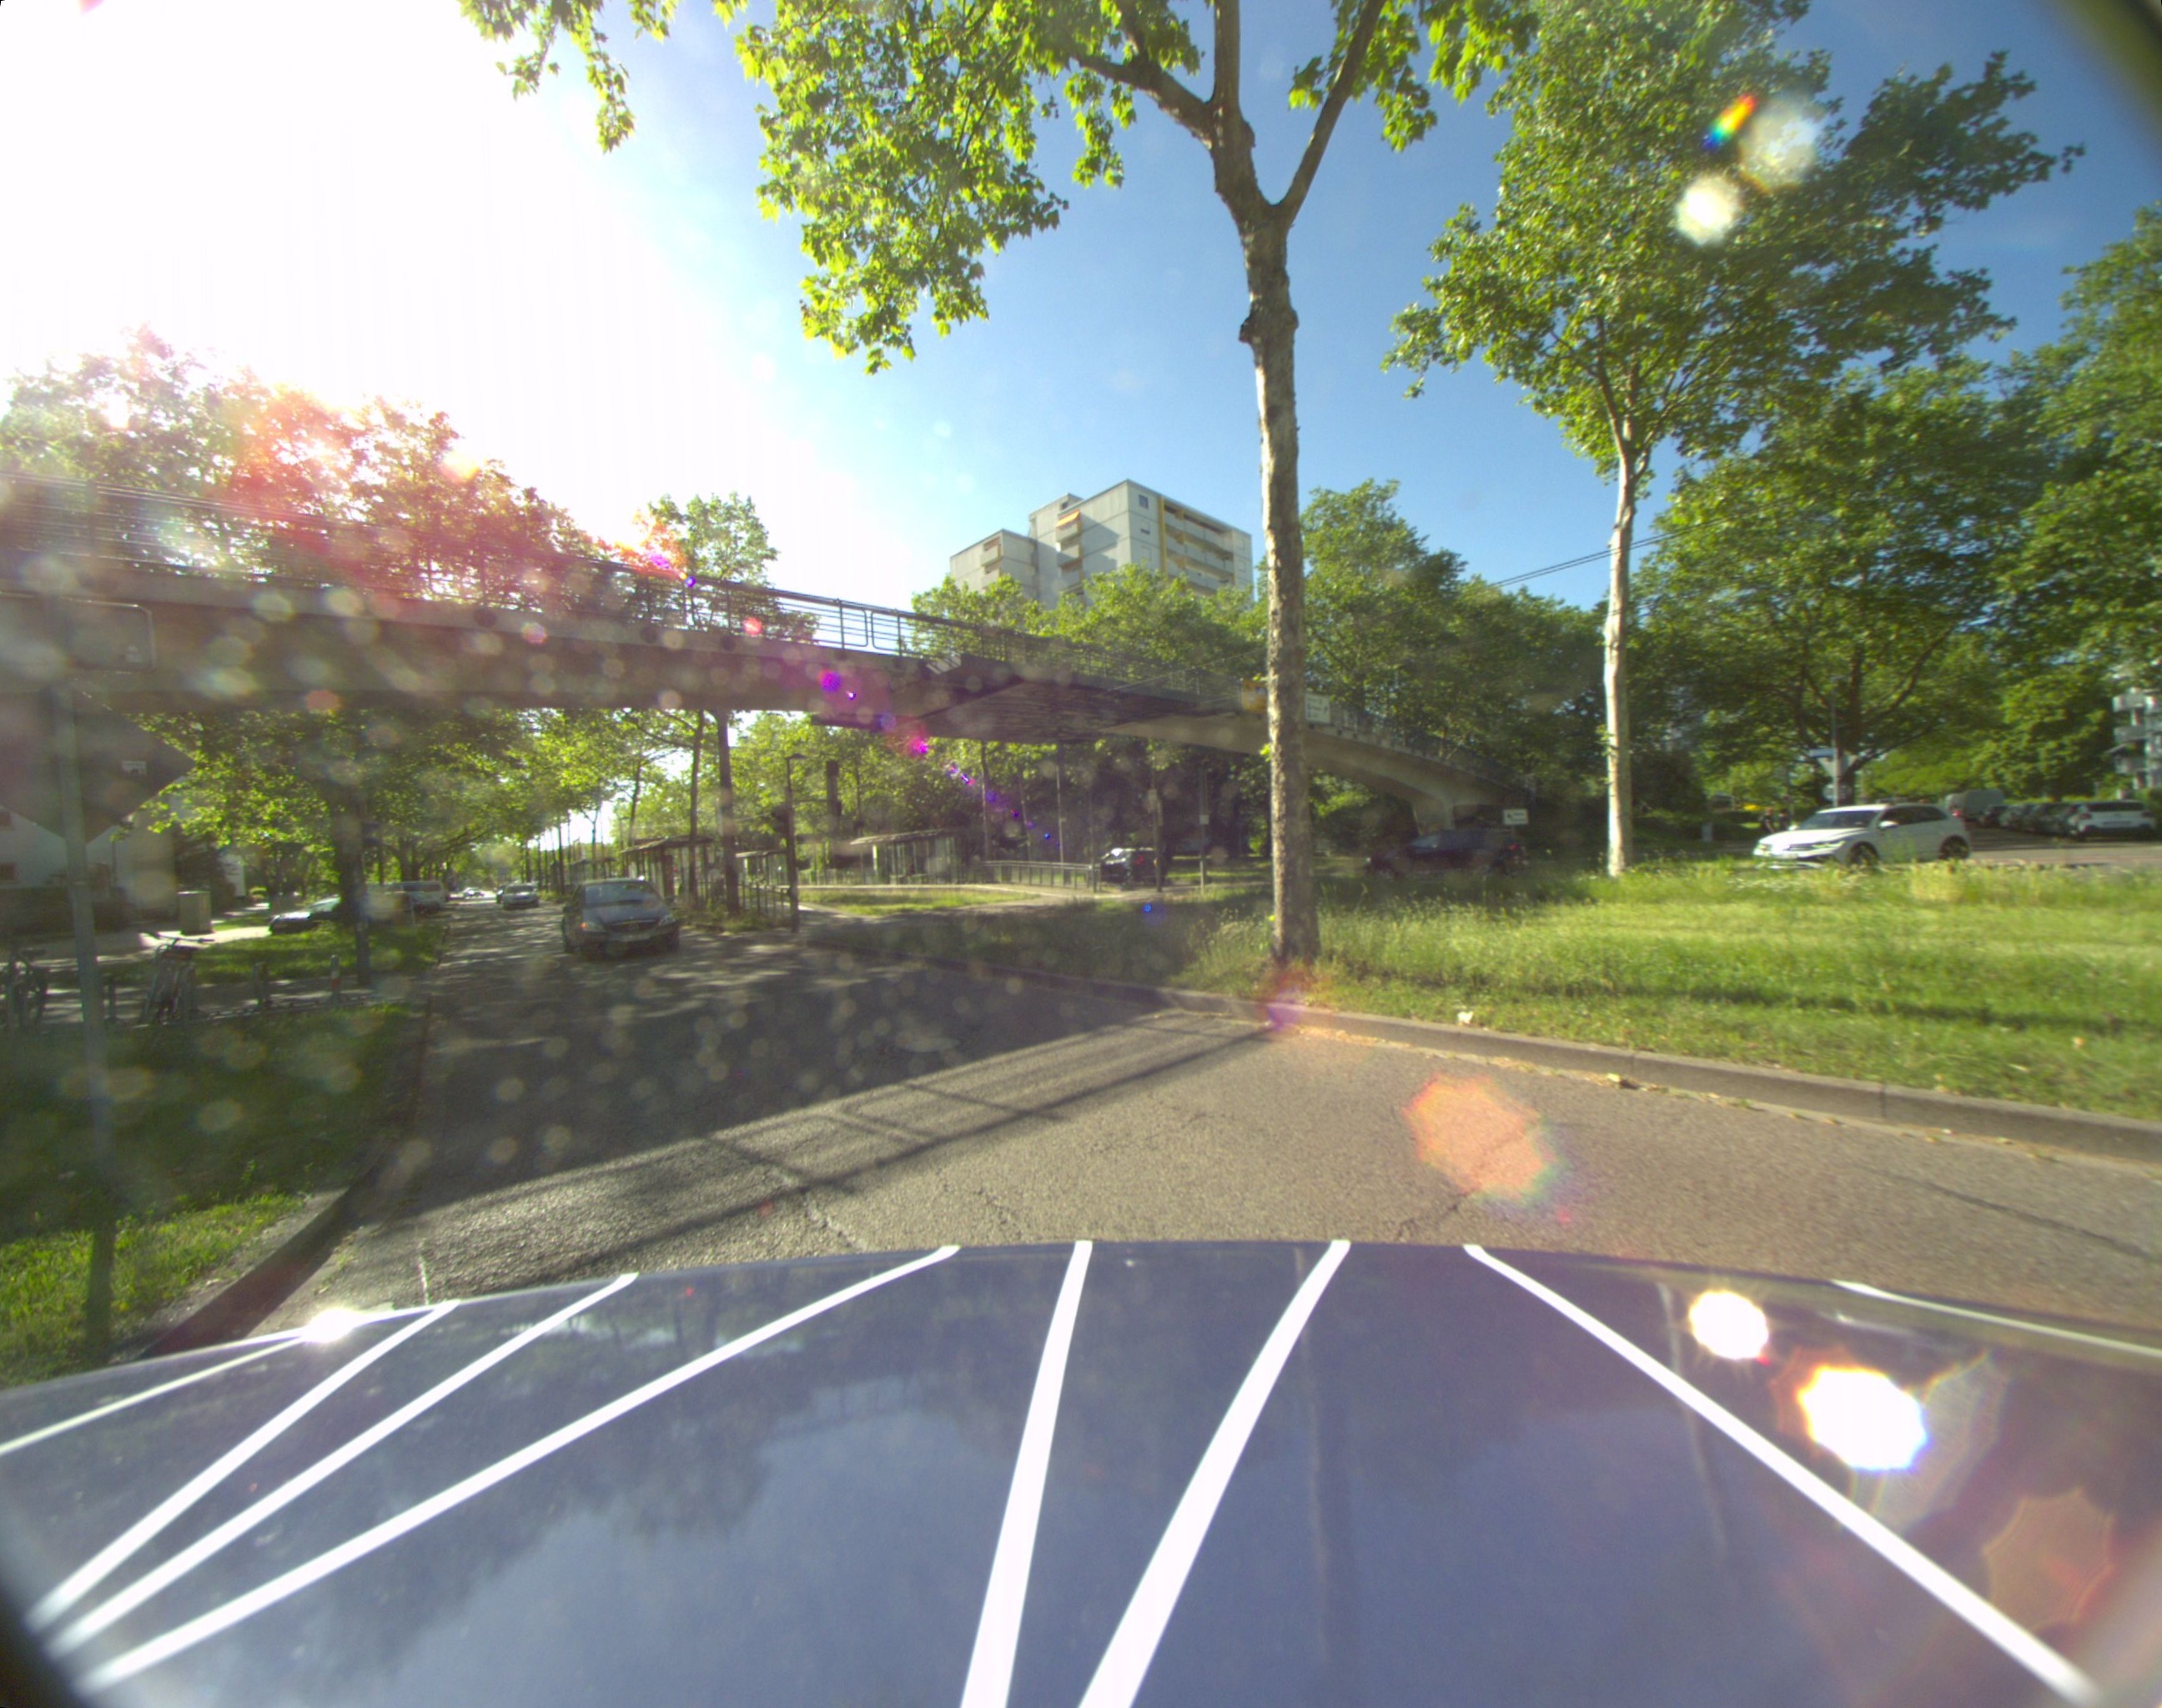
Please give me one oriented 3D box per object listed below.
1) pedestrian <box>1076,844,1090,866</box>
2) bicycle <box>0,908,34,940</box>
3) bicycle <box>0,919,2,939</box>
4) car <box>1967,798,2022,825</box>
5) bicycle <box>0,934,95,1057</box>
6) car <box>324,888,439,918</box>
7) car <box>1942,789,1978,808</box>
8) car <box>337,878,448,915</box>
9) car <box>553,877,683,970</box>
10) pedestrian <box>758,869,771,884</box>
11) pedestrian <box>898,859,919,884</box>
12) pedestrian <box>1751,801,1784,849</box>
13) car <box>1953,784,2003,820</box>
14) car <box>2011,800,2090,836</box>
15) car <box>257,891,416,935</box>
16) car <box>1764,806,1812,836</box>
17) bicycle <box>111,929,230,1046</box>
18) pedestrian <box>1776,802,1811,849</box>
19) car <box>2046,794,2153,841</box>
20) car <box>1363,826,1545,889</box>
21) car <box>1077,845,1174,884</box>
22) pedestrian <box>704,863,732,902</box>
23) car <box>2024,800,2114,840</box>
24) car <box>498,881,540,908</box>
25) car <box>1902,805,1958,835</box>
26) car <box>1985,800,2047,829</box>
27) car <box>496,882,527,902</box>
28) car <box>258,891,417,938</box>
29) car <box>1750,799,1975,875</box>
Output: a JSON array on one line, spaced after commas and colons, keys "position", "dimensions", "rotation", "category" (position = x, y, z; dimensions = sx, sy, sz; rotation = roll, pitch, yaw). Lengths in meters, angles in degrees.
[{"position": [0.137, 0.076, 57.157], "dimensions": [0.651, 1.652, 0.648], "rotation": [-5, 2, -38], "category": "pedestrian"}, {"position": [-39.463, 2.584, 27.948], "dimensions": [0.593, 1.101, 1.795], "rotation": [-4, 1, -39], "category": "bicycle"}, {"position": [-40.023, 2.613, 27.491], "dimensions": [0.593, 1.101, 1.795], "rotation": [-4, 1, -39], "category": "bicycle"}, {"position": [56.700, -2.638, 47.219], "dimensions": [4.007, 1.501, 1.795], "rotation": [-4, 1, -45], "category": "car"}, {"position": [-11.727, 1.529, 8.413], "dimensions": [0.593, 1.175, 1.795], "rotation": [0, -2, -40], "category": "bicycle"}, {"position": [-39.492, 2.760, 43.062], "dimensions": [1.797, 1.415, 4.594], "rotation": [-2, -1, 10], "category": "car"}, {"position": [78.259, -4.886, 67.685], "dimensions": [4.007, 1.501, 1.860], "rotation": [-4, 1, -45], "category": "car"}, {"position": [-41.405, 2.517, 45.863], "dimensions": [2.014, 2.040, 4.595], "rotation": [-2, -1, 11], "category": "car"}, {"position": [-9.967, 1.371, 16.246], "dimensions": [1.803, 1.580, 3.753], "rotation": [-5, 2, -39], "category": "car"}, {"position": [-24.453, 1.749, 58.756], "dimensions": [0.770, 1.176, 0.761], "rotation": [1, -2, -39], "category": "pedestrian"}, {"position": [-8.874, 0.883, 39.092], "dimensions": [0.782, 1.231, 0.720], "rotation": [-4, 2, -40], "category": "pedestrian"}, {"position": [26.658, -1.119, 29.504], "dimensions": [0.650, 1.773, 0.649], "rotation": [-3, 1, -13], "category": "pedestrian"}, {"position": [67.828, -3.909, 57.521], "dimensions": [5.018, 2.422, 2.057], "rotation": [-4, 1, -45], "category": "car"}, {"position": [44.967, -1.699, 35.318], "dimensions": [4.007, 1.501, 1.795], "rotation": [-4, 1, -45], "category": "car"}, {"position": [-29.781, 2.330, 30.597], "dimensions": [1.797, 1.453, 4.261], "rotation": [-2, -1, 11], "category": "car"}, {"position": [40.323, -1.898, 43.281], "dimensions": [4.007, 1.501, 1.795], "rotation": [-4, 1, -45], "category": "car"}, {"position": [-10.921, 1.540, 9.175], "dimensions": [0.593, 1.175, 1.795], "rotation": [0, -2, -40], "category": "bicycle"}, {"position": [26.648, -1.044, 28.411], "dimensions": [0.650, 1.696, 0.649], "rotation": [-3, 1, -13], "category": "pedestrian"}, {"position": [37.437, -1.352, 28.029], "dimensions": [4.007, 1.501, 1.795], "rotation": [-4, 1, -45], "category": "car"}, {"position": [10.572, 0.134, 21.714], "dimensions": [4.276, 1.557, 1.803], "rotation": [-3, 1, 43], "category": "car"}, {"position": [1.930, 0.498, 34.105], "dimensions": [1.803, 1.557, 4.277], "rotation": [-4, 1, -40], "category": "car"}, {"position": [-14.091, 1.104, 29.472], "dimensions": [0.728, 1.409, 0.680], "rotation": [-5, 2, -39], "category": "pedestrian"}, {"position": [41.574, -1.461, 32.061], "dimensions": [4.007, 1.501, 1.795], "rotation": [-4, 1, -45], "category": "car"}, {"position": [-35.534, 2.567, 48.004], "dimensions": [1.803, 1.530, 3.990], "rotation": [-3, 0, -41], "category": "car"}, {"position": [45.867, -1.853, 41.127], "dimensions": [4.007, 1.501, 1.795], "rotation": [-4, 1, -45], "category": "car"}, {"position": [52.559, -2.226, 42.758], "dimensions": [4.007, 1.501, 1.795], "rotation": [-4, 1, -45], "category": "car"}, {"position": [-48.836, 3.238, 65.160], "dimensions": [1.803, 1.502, 3.990], "rotation": [-6, 2, -40], "category": "car"}, {"position": [-27.669, 2.219, 28.479], "dimensions": [1.798, 1.453, 4.003], "rotation": [-2, -1, 7], "category": "car"}, {"position": [18.348, -0.396, 17.906], "dimensions": [4.088, 1.501, 1.798], "rotation": [-3, 1, -13], "category": "car"}]
